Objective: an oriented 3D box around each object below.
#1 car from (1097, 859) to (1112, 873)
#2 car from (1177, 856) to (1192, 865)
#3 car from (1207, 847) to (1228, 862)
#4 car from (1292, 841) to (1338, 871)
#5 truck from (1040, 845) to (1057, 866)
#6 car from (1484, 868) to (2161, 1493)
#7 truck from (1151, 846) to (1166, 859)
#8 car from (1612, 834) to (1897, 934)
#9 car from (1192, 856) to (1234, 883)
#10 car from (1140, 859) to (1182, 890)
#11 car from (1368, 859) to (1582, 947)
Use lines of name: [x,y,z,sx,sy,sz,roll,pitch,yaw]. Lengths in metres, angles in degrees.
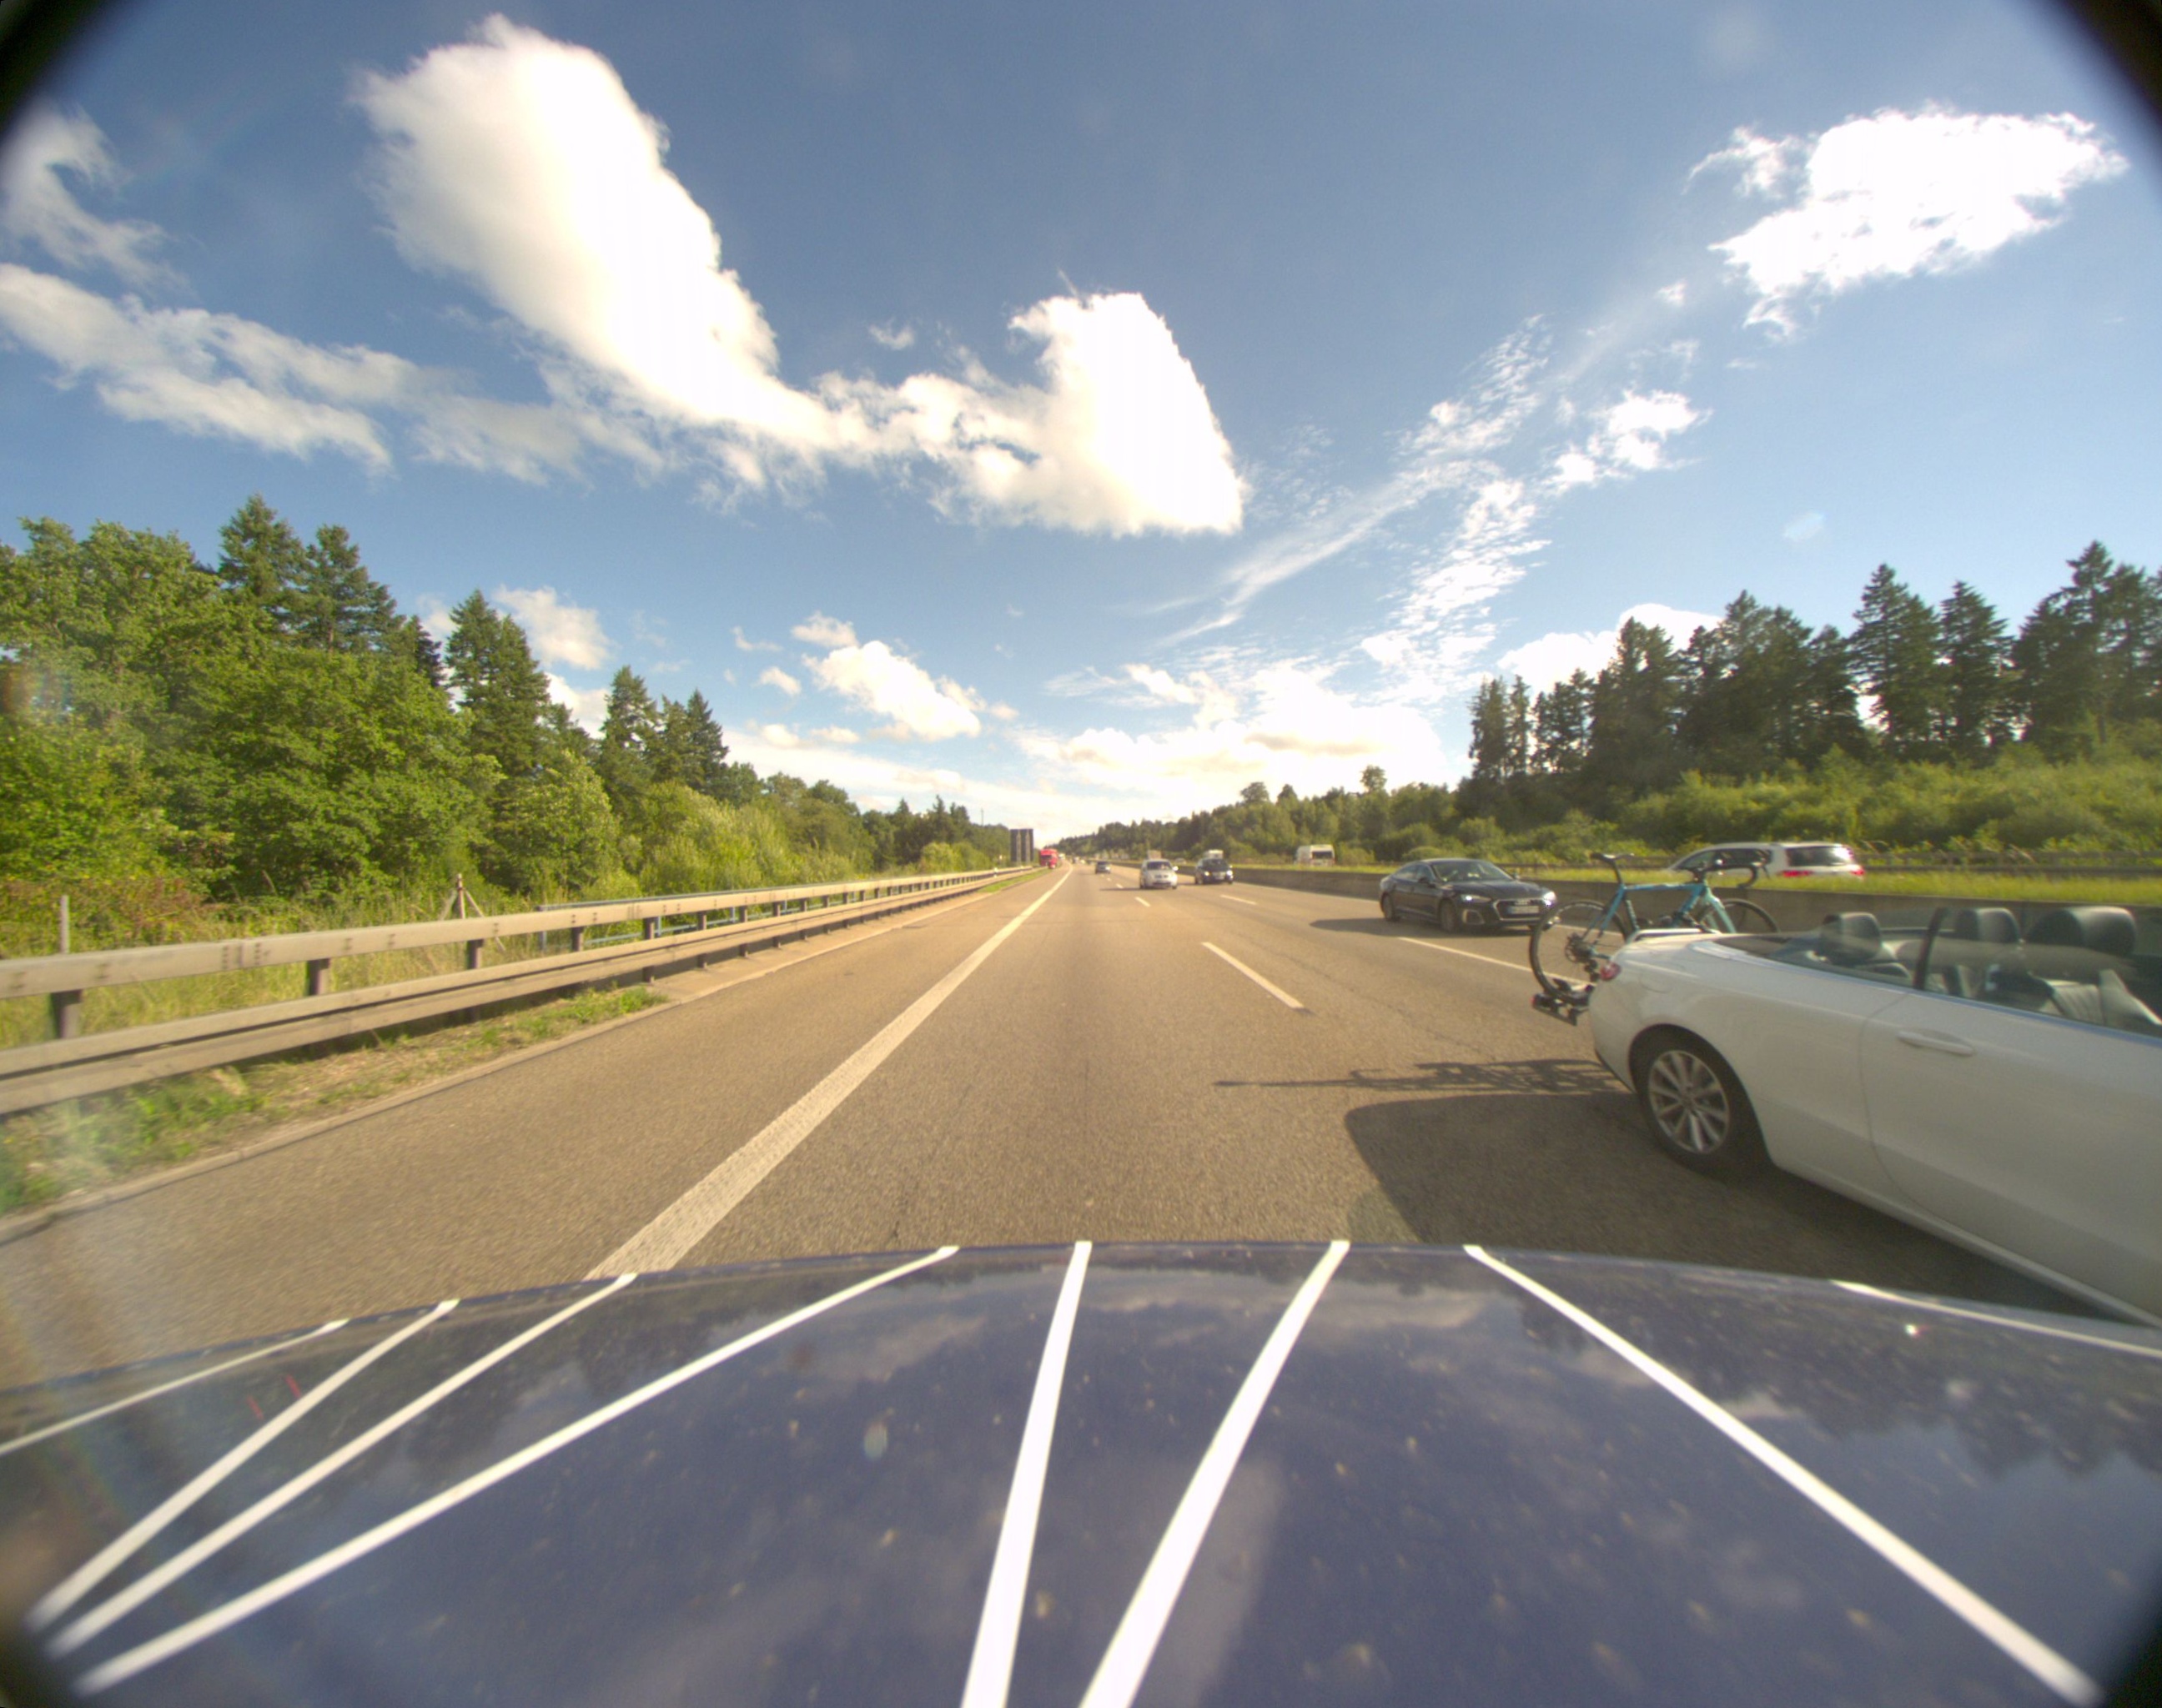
car: [2.820,1.390,90.750,1.742,1.608,4.083,-2,0,1]
car: [17.081,1.002,125.550,1.824,1.411,4.000,-1,0,1]
car: [23.936,0.060,133.747,2.550,2.461,5.845,-4,0,1]
car: [19.521,0.184,63.730,2.102,2.262,5.446,-4,0,1]
truck: [-6.493,0.311,153.503,2.880,3.870,8.959,-2,0,1]
car: [3.782,0.861,2.381,2.065,1.490,5.736,-2,0,1]
truck: [23.652,-0.387,231.882,3.323,3.880,11.741,-2,0,1]
car: [15.716,0.619,18.290,2.102,1.914,5.284,-4,0,1]
car: [7.906,0.906,45.772,1.840,1.508,4.333,-2,0,1]
car: [4.230,1.035,40.669,1.840,1.508,4.333,-2,0,1]
car: [7.571,0.850,15.263,1.860,1.422,4.841,-2,0,1]
